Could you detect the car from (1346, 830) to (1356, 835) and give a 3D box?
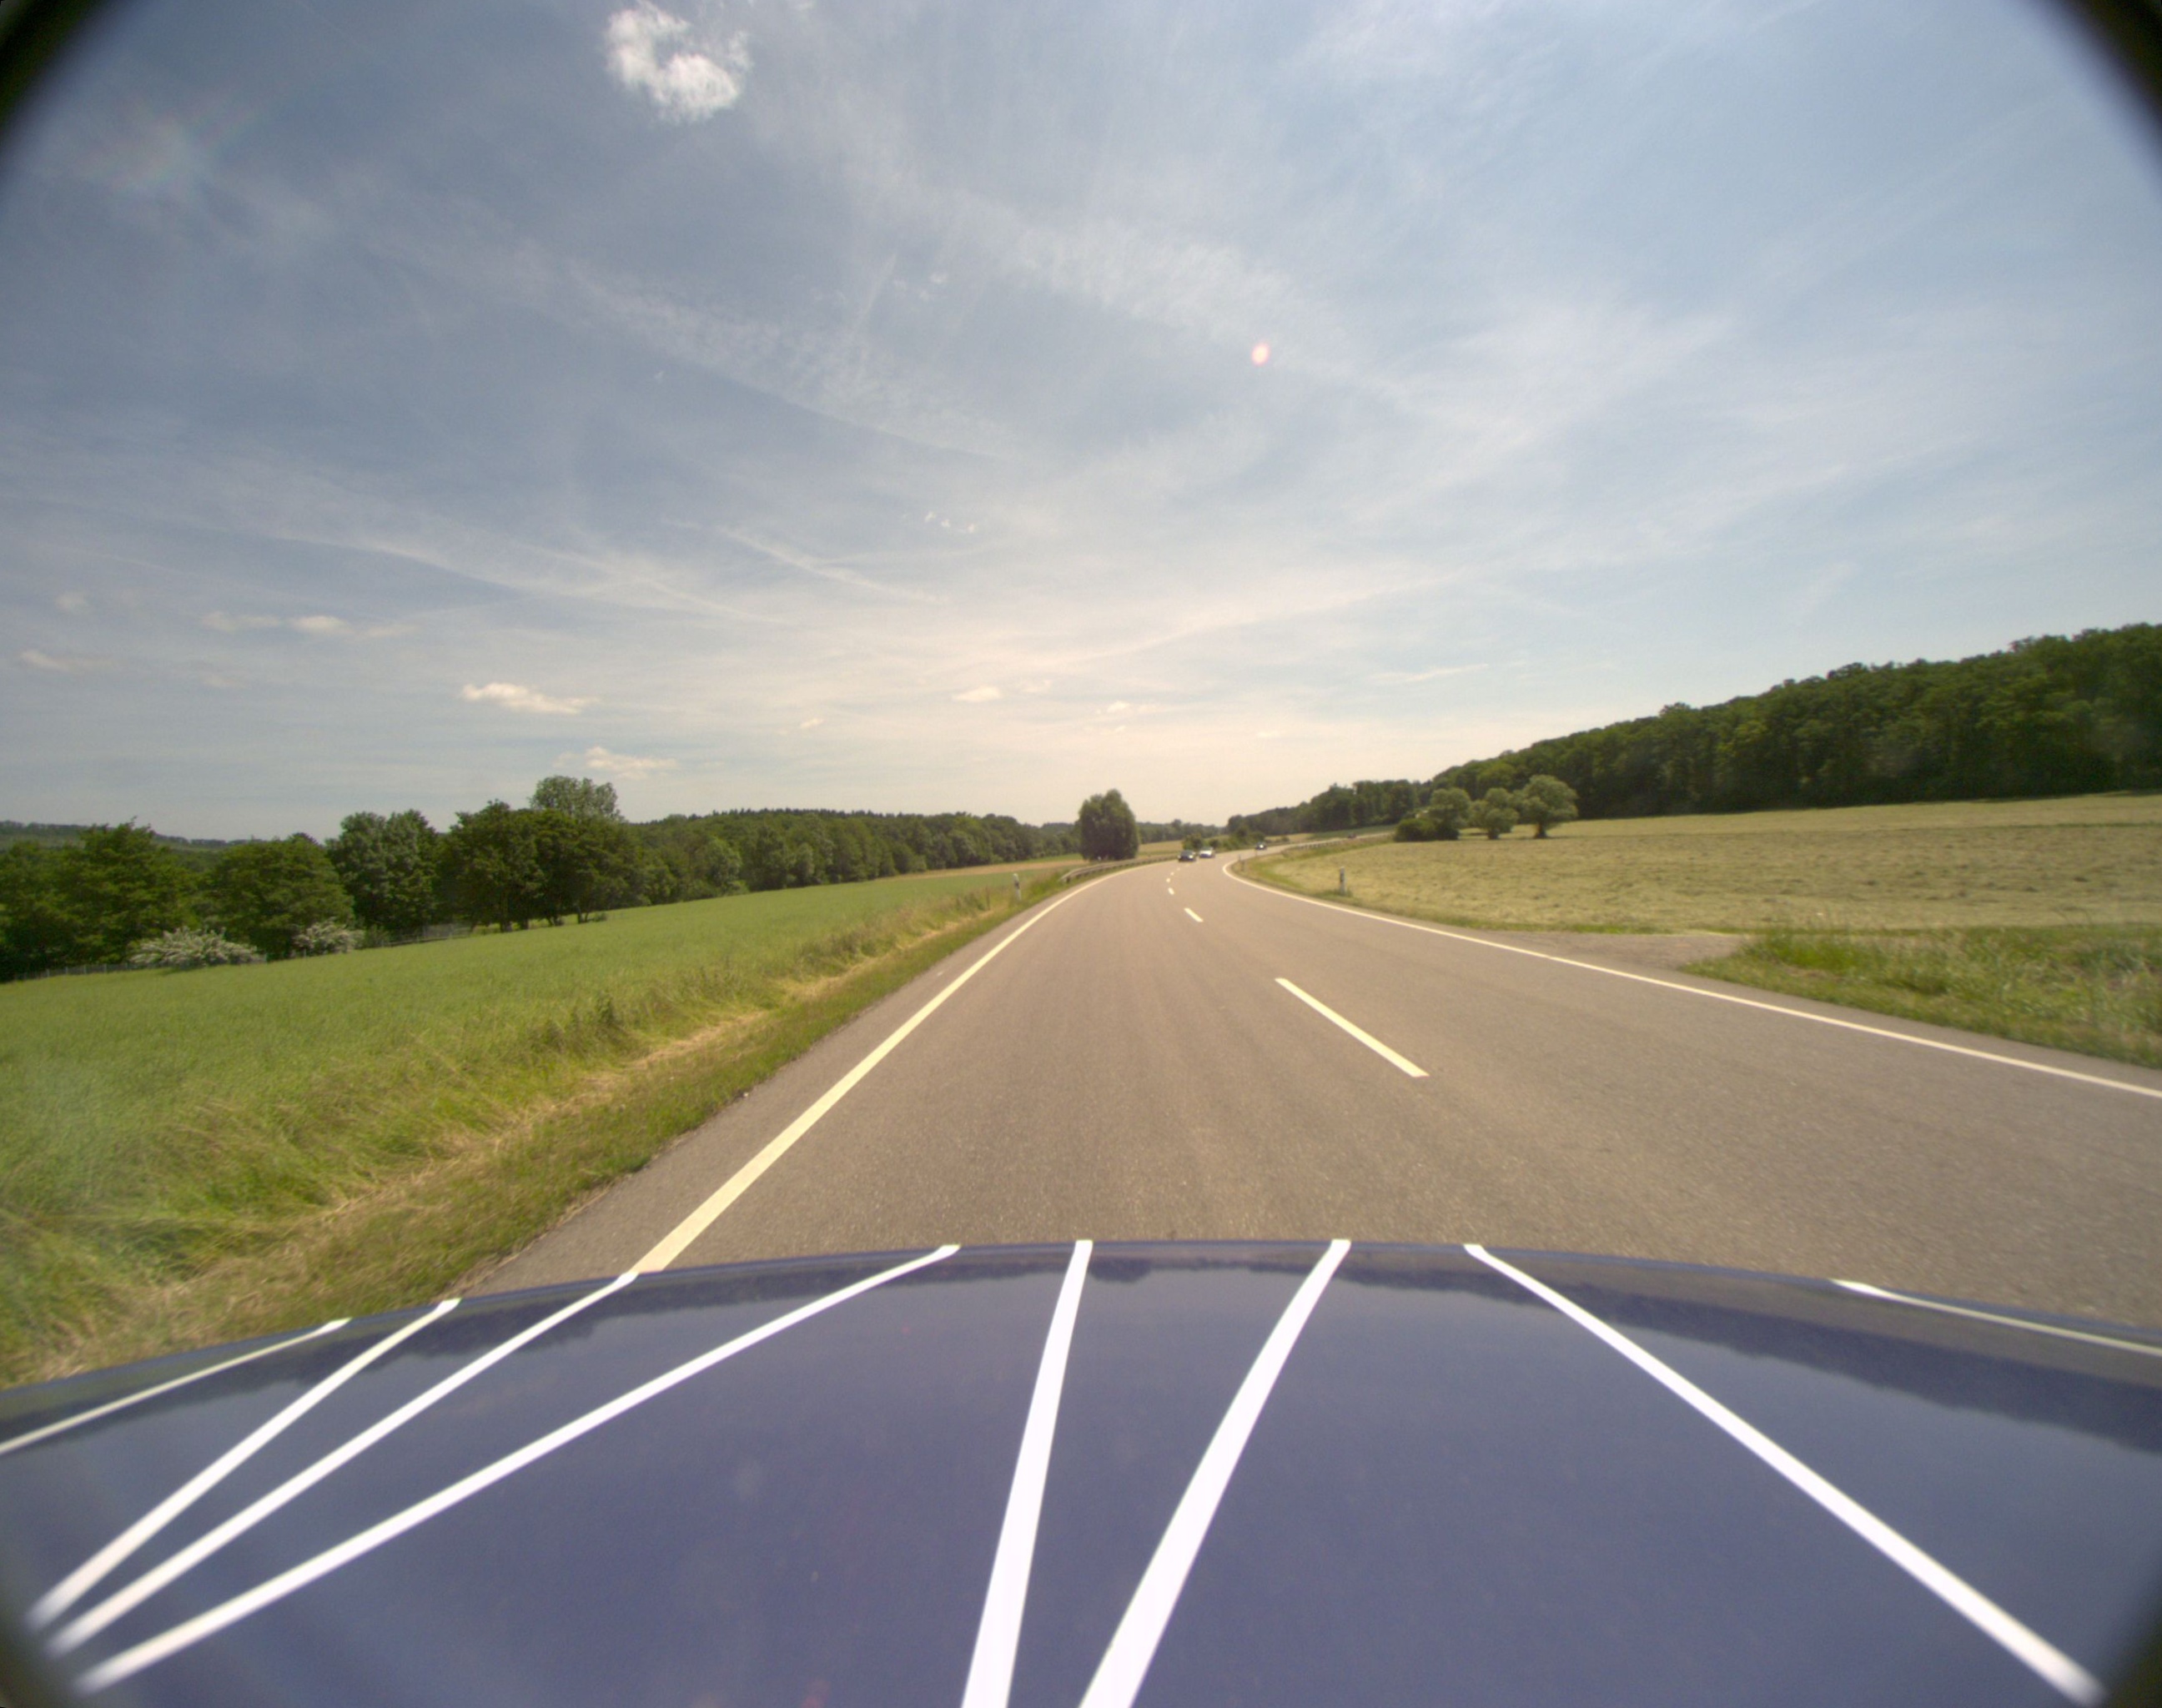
[{"bbox_3d":[78.919,-6.254,222.208,1.618,1.428,3.449,-1,3,37],"label":"car"}]

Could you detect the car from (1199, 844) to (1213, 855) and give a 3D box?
[{"bbox_3d":[18.200,-0.681,110.344,1.620,1.428,3.445,-2,2,15],"label":"car"}]

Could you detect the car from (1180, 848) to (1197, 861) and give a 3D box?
[{"bbox_3d":[13.155,0.021,92.962,1.620,1.428,3.446,-2,1,14],"label":"car"}]

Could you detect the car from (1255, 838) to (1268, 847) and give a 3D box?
[{"bbox_3d":[36.287,-2.313,152.560,1.619,1.428,3.448,-2,2,27],"label":"car"}]
